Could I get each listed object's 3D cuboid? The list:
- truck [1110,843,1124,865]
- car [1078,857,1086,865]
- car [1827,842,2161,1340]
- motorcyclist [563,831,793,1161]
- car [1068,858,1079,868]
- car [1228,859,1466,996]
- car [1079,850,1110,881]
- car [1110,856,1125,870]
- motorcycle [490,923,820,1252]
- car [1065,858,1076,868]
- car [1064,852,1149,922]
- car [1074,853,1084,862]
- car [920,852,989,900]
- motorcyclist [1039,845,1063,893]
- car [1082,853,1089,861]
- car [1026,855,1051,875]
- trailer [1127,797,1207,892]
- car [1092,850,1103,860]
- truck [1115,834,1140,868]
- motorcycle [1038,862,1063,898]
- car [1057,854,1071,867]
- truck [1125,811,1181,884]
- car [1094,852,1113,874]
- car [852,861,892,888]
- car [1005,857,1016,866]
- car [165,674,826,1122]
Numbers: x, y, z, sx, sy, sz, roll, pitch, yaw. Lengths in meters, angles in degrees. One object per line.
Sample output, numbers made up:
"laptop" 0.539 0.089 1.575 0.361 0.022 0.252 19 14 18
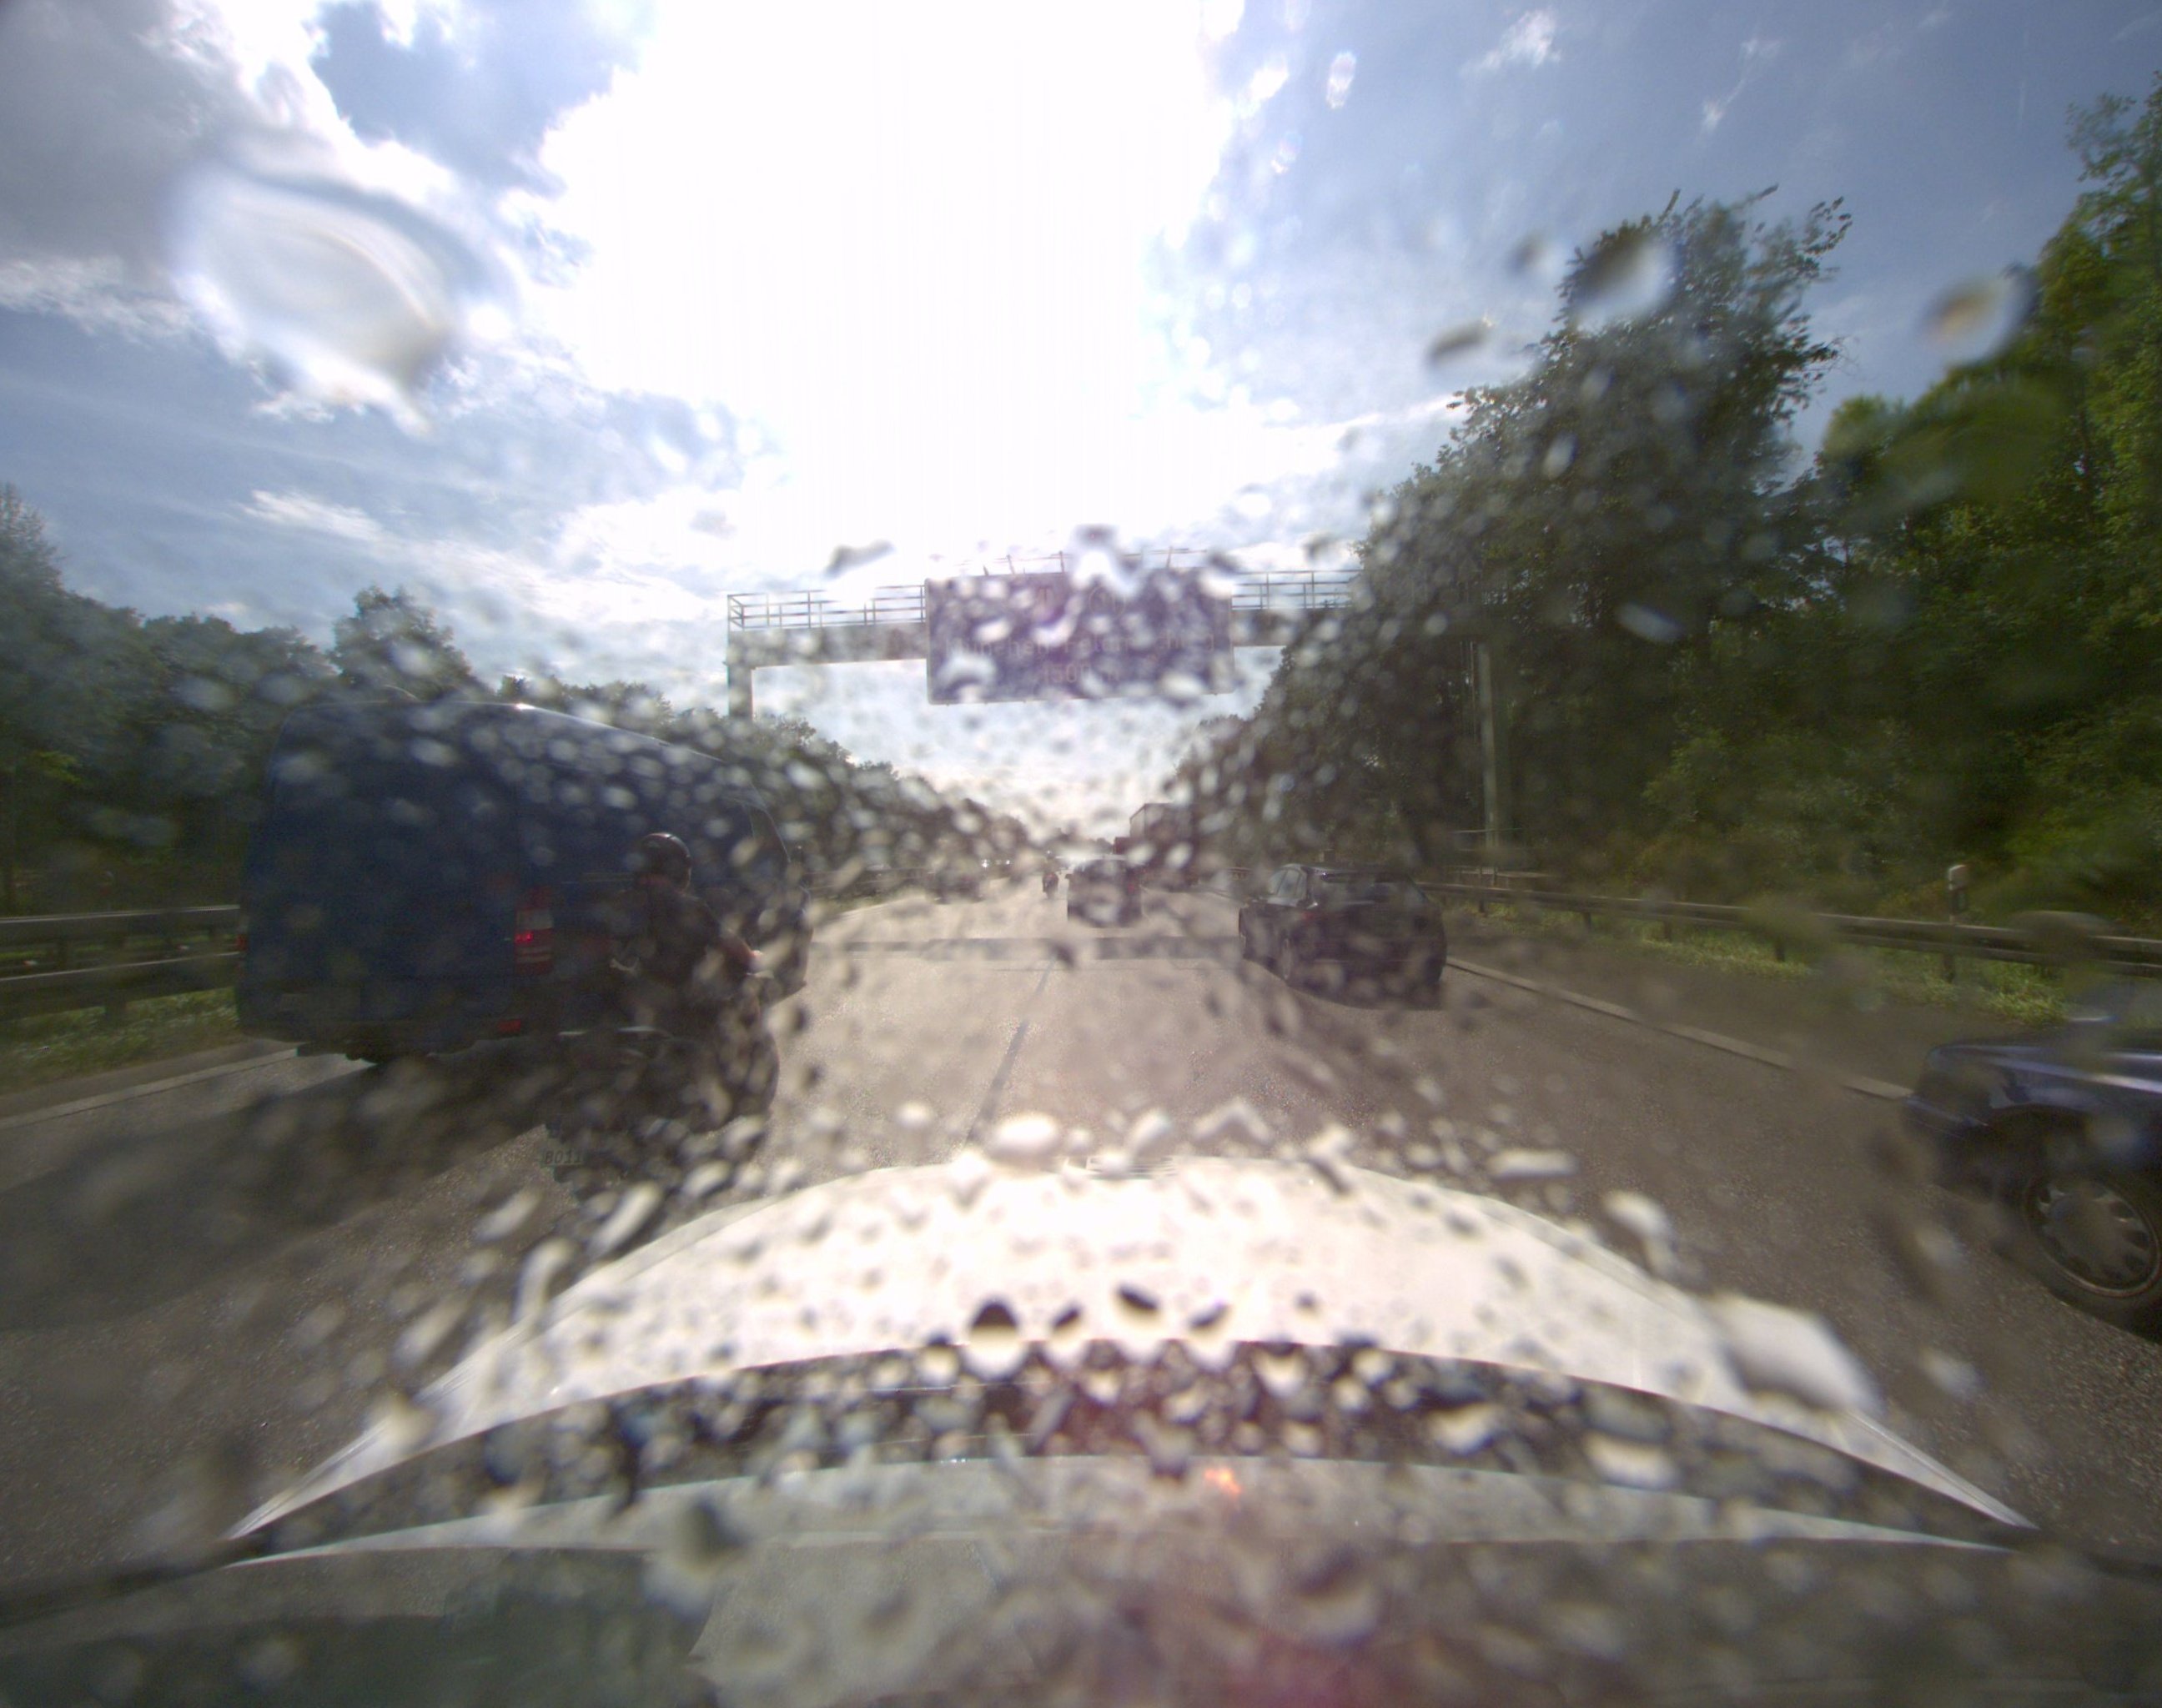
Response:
"truck" 7.981 0.076 182.809 2.871 4.687 12.661 -1 -1 1
"car" 0.232 1.765 203.018 1.986 2.014 4.000 -1 -1 1
"car" 3.991 0.682 1.577 1.645 1.456 3.744 -1 0 0
"motorcyclist" -1.959 0.628 4.105 0.669 1.442 1.019 -1 -1 -2
"car" -1.406 1.746 159.143 1.986 2.014 4.000 -1 -1 1
"car" 3.179 0.786 10.709 1.749 1.396 4.369 -1 0 1
"car" 0.903 0.750 55.177 1.987 2.014 4.000 -1 -1 1
"car" 4.255 1.037 95.564 1.669 1.490 3.437 -1 0 1
"motorcycle" -1.951 0.975 4.118 0.674 1.087 1.980 0 0 -2
"car" -1.638 1.445 133.256 1.669 1.490 3.437 -1 0 1
"car" 0.615 0.759 20.703 1.908 1.565 4.314 -1 0 1
"car" -0.390 0.790 180.599 1.986 2.014 4.000 -1 -1 1
"car" -4.564 0.769 29.926 1.752 1.595 4.331 -1 0 1
"motorcyclist" -1.118 0.556 30.592 0.818 1.761 1.390 -1 -1 0
"car" 1.278 0.883 220.736 1.986 2.014 4.000 -1 -1 1
"car" -3.735 0.941 71.554 1.886 1.628 4.195 -1 0 1
"trailer" 4.372 -0.416 44.544 3.077 4.312 14.107 -1 0 1
"car" 2.503 0.128 121.406 1.626 1.490 3.437 -1 0 1
"truck" 6.387 -0.367 113.755 3.190 4.404 9.435 -1 0 2
"motorcycle" -1.117 0.951 30.526 0.817 1.263 2.117 -1 0 1
"car" -2.144 0.844 103.012 1.669 1.597 3.437 -1 0 1
"truck" 4.487 -0.400 51.787 3.042 4.325 5.886 -1 0 0
"car" 2.011 0.826 74.862 1.669 1.936 3.774 -1 0 1
"car" -16.879 1.628 65.946 1.986 1.965 4.396 -1 0 1
"car" -16.480 1.716 190.260 1.987 2.013 4.000 0 0 1
"car" -4.417 0.261 7.766 2.008 2.648 5.777 -1 0 1
